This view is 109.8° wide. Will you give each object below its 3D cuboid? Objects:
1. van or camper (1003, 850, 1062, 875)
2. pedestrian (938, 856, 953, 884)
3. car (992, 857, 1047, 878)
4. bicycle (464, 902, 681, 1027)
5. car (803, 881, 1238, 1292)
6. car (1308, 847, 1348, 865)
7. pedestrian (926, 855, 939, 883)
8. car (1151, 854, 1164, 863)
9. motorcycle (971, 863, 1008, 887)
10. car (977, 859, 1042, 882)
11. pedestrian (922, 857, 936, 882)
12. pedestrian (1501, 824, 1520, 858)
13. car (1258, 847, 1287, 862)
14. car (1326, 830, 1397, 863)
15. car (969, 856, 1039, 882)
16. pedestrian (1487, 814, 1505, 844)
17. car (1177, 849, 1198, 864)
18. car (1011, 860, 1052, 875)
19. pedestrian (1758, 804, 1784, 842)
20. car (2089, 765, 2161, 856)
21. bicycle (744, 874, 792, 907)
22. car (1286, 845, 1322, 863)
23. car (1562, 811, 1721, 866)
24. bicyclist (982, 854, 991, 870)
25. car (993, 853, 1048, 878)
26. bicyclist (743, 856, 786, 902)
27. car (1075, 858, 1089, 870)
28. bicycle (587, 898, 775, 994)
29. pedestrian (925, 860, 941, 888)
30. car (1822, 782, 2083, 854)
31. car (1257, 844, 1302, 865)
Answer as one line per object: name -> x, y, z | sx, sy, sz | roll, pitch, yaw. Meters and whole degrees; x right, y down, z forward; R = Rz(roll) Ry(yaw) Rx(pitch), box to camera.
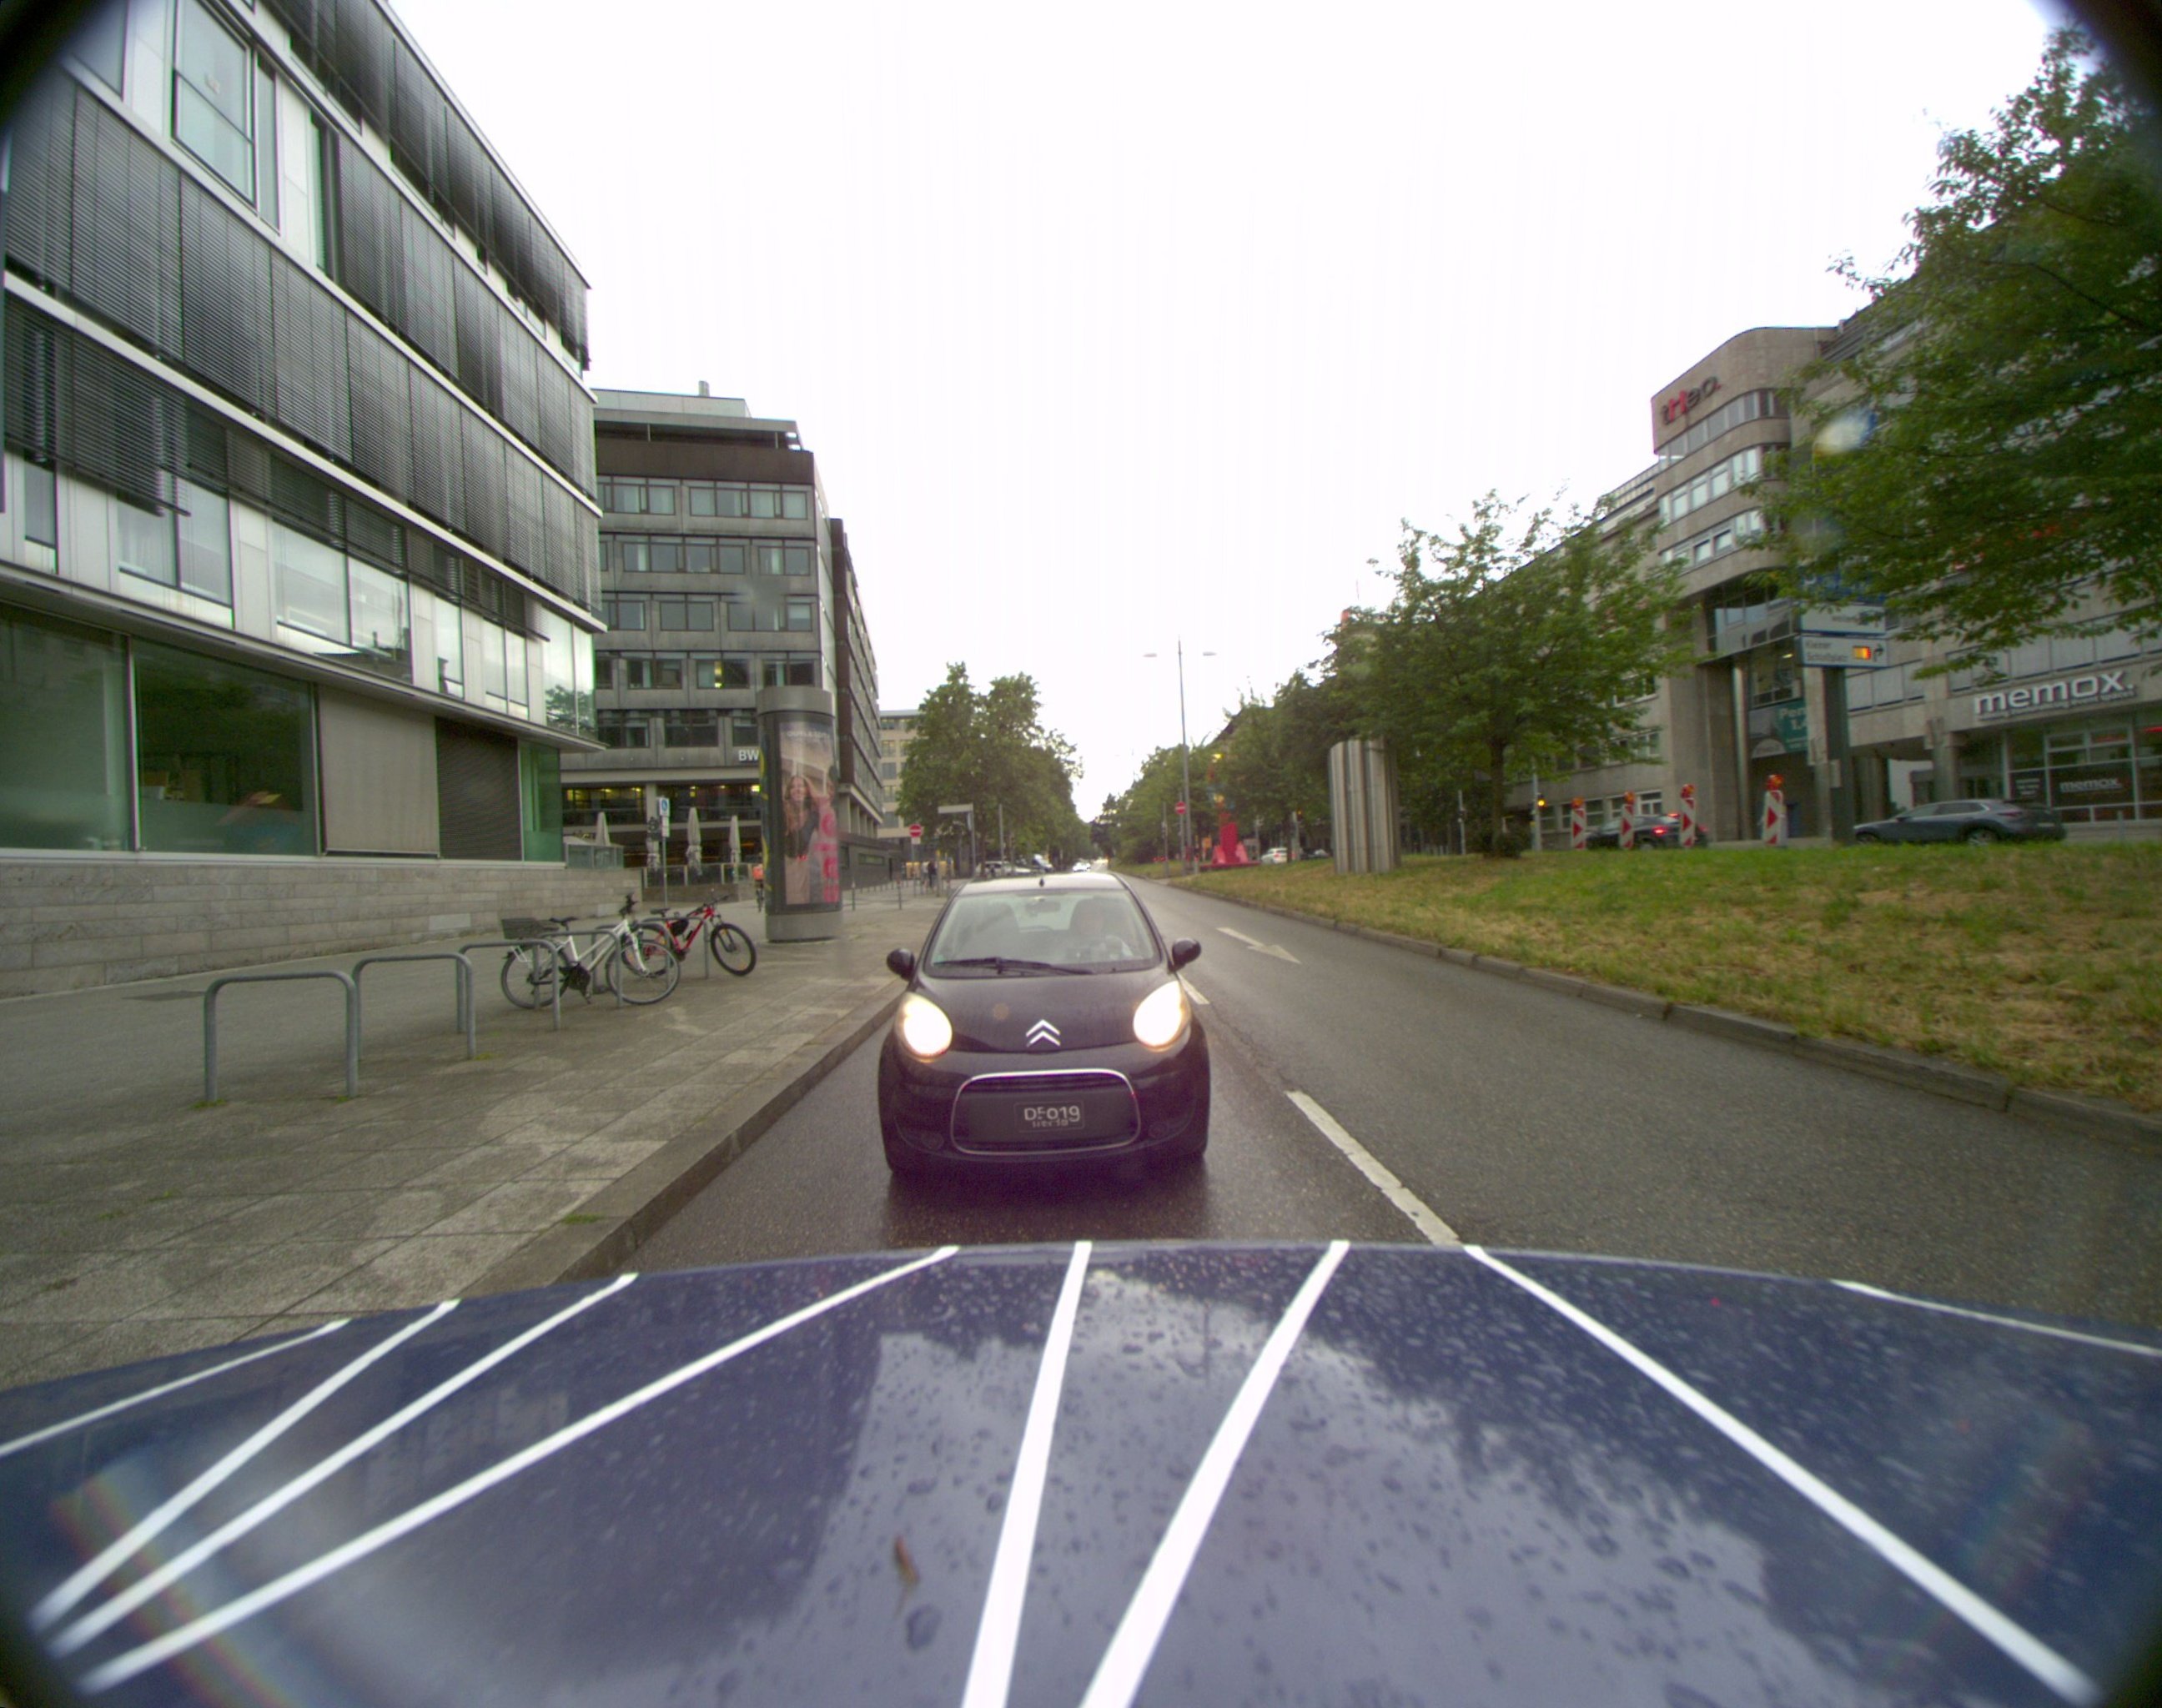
van or camper -> -5.517, 1.009, 86.374 | 6.250, 2.432, 2.319 | -4, 0, 30
pedestrian -> -10.309, 1.220, 57.774 | 0.852, 2.027, 0.753 | -3, 0, -1
car -> -5.369, 1.196, 66.380 | 4.381, 1.528, 1.919 | -4, 0, 27
bicycle -> -5.294, 1.142, 7.969 | 1.840, 1.190, 0.660 | -1, 0, 4
car -> -0.276, 0.978, 4.909 | 1.634, 1.408, 3.834 | -3, 0, -1
car -> 21.689, 0.188, 66.921 | 1.867, 1.421, 4.565 | -2, 0, -3
pedestrian -> -10.371, 1.053, 53.103 | 0.721, 1.873, 0.656 | -3, 0, -6
car -> 13.831, 0.829, 136.896 | 1.866, 1.421, 4.132 | -2, 0, -1
motorcycle -> -5.541, 1.267, 46.061 | 2.087, 1.349, 0.677 | -3, 0, 7
car -> -5.572, 1.262, 58.782 | 4.711, 1.465, 1.920 | -4, 0, 32
pedestrian -> -11.565, 1.175, 57.823 | 0.803, 1.857, 0.898 | -3, 0, 0
pedestrian -> 23.371, -0.693, 41.309 | 0.529, 1.777, 0.721 | -3, 0, 1
car -> 20.542, 0.075, 81.654 | 1.791, 1.478, 4.574 | -2, 0, -3
car -> 15.794, -0.398, 43.080 | 1.730, 1.717, 4.579 | -3, 0, -8
car -> -5.638, 1.100, 55.614 | 4.792, 1.640, 1.920 | -4, 0, 30
pedestrian -> 23.069, -1.381, 42.258 | 0.607, 1.619, 0.620 | -3, 0, 1
car -> 13.596, 0.331, 97.404 | 1.950, 1.690, 3.999 | -3, 0, -2
car -> -5.381, 1.442, 82.708 | 4.052, 1.415, 1.711 | -4, 0, 29
pedestrian -> 33.839, -1.521, 37.274 | 0.721, 1.777, 0.529 | -3, 0, -2
car -> 18.800, -0.787, 11.198 | 1.810, 1.477, 4.380 | -5, 0, -9
bicycle -> -11.551, 1.328, 28.122 | 1.011, 1.107, 2.066 | -2, 1, -4
car -> 21.083, -0.004, 72.108 | 1.867, 1.612, 4.467 | -2, 0, -3
car -> 17.750, -0.450, 24.338 | 1.810, 1.477, 3.998 | -5, 0, -6
bicyclist -> -10.443, 0.881, 84.021 | 0.812, 1.739, 1.079 | -6, 2, -3
car -> -5.532, 1.056, 69.261 | 4.507, 1.981, 1.925 | -4, 0, 29
bicyclist -> -11.558, 0.890, 27.821 | 1.014, 1.573, 1.135 | -5, 1, -5
car -> 0.094, 1.501, 116.105 | 1.791, 1.736, 4.574 | -2, 0, -3
bicycle -> -5.133, 1.165, 9.821 | 1.988, 1.097, 0.808 | -2, 0, 4
pedestrian -> -9.061, 1.225, 46.545 | 0.722, 1.675, 0.528 | -3, 0, -30
car -> 24.744, -0.928, 21.925 | 1.867, 1.715, 4.791 | -2, 0, -3
car -> 15.364, 0.034, 59.020 | 1.825, 1.466, 4.190 | -3, 0, -8
